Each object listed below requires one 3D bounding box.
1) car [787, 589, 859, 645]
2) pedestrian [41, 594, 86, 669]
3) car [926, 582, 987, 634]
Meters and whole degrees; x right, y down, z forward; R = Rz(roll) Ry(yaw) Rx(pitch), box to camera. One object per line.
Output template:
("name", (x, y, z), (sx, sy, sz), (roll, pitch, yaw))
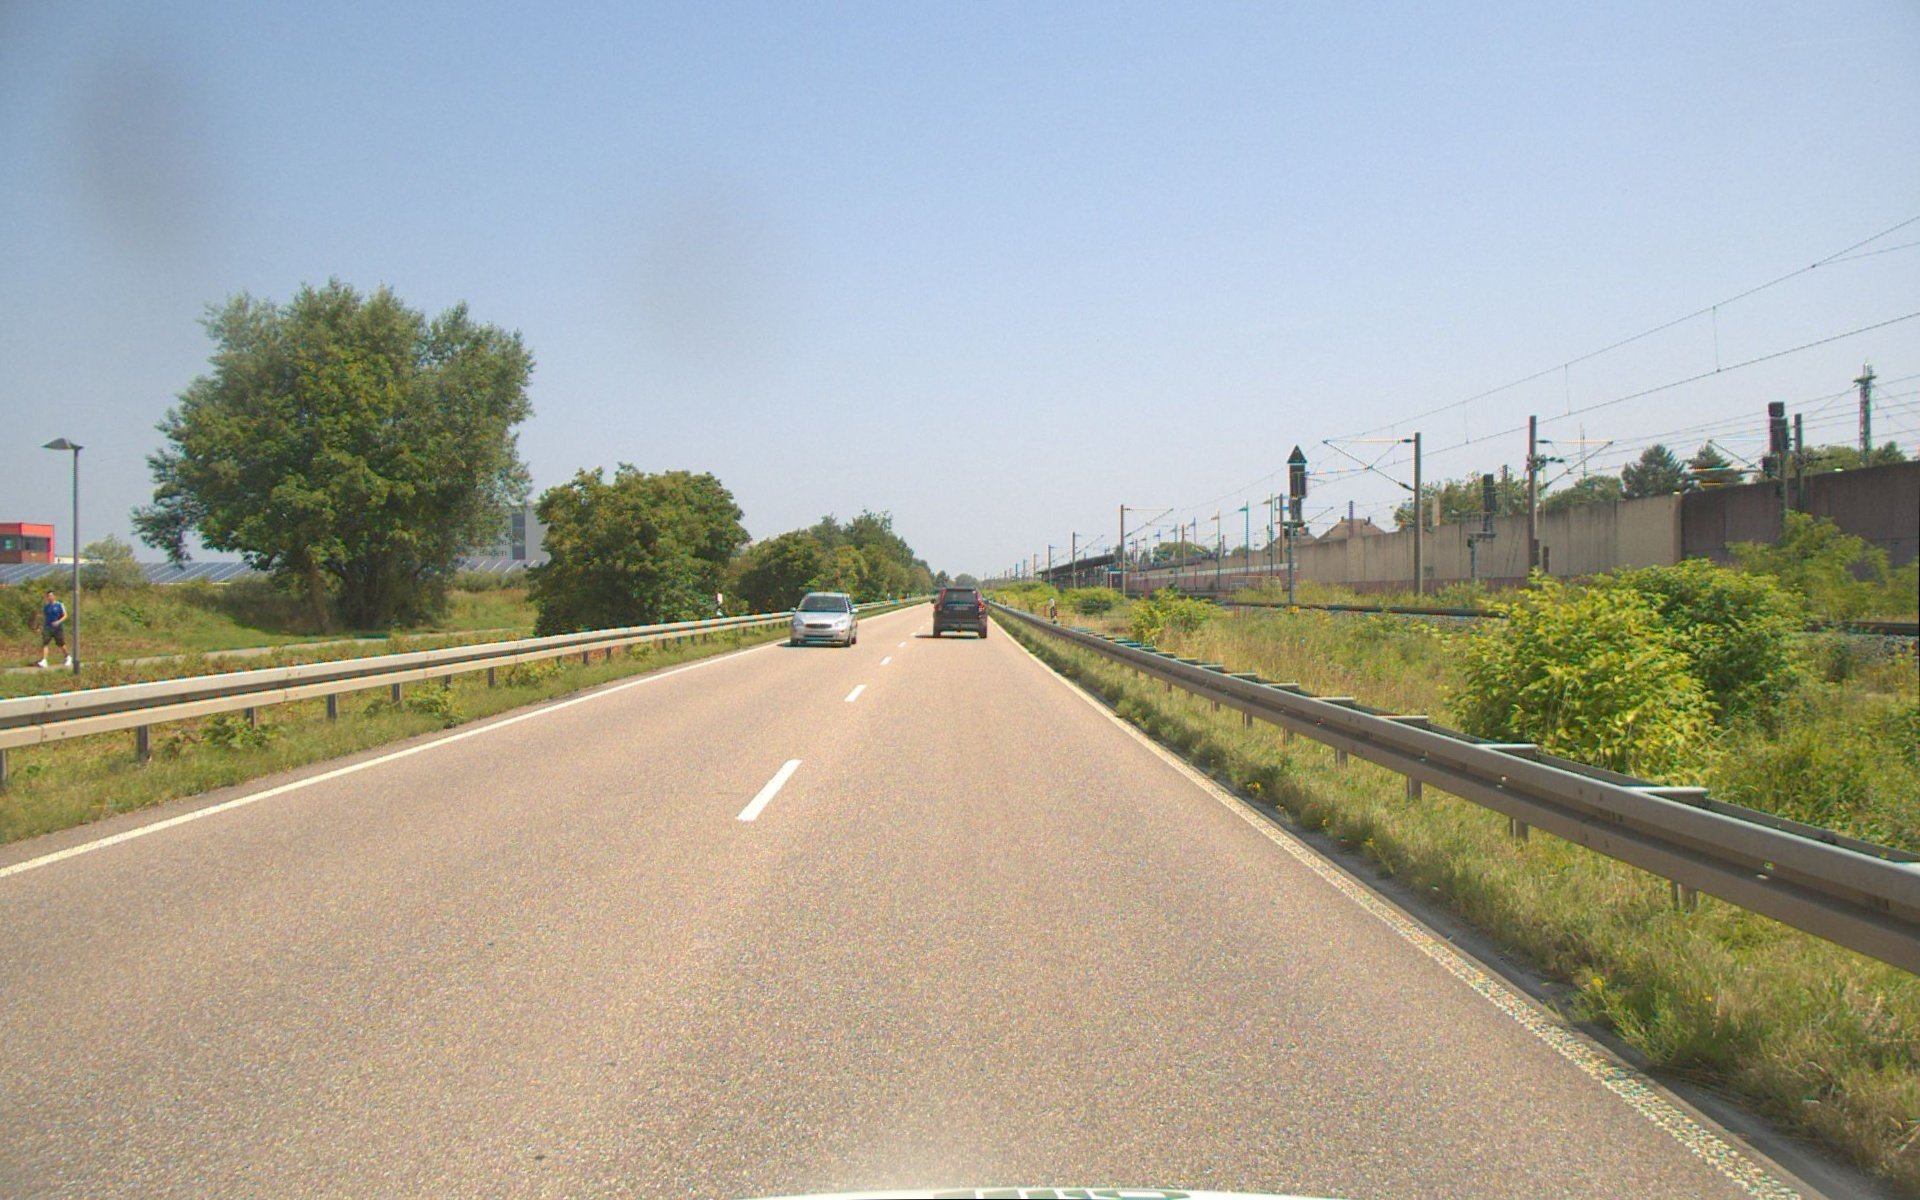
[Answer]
("car", (-3.857, 0.446, 47.122), (1.663, 1.500, 4.686), (1, 0, -1))
("pedestrian", (-21.870, 0.763, 40.347), (0.566, 1.780, 0.821), (-2, 0, 4))
("car", (-0.154, 0.261, 57.329), (1.953, 1.730, 3.998), (0, 0, -2))
